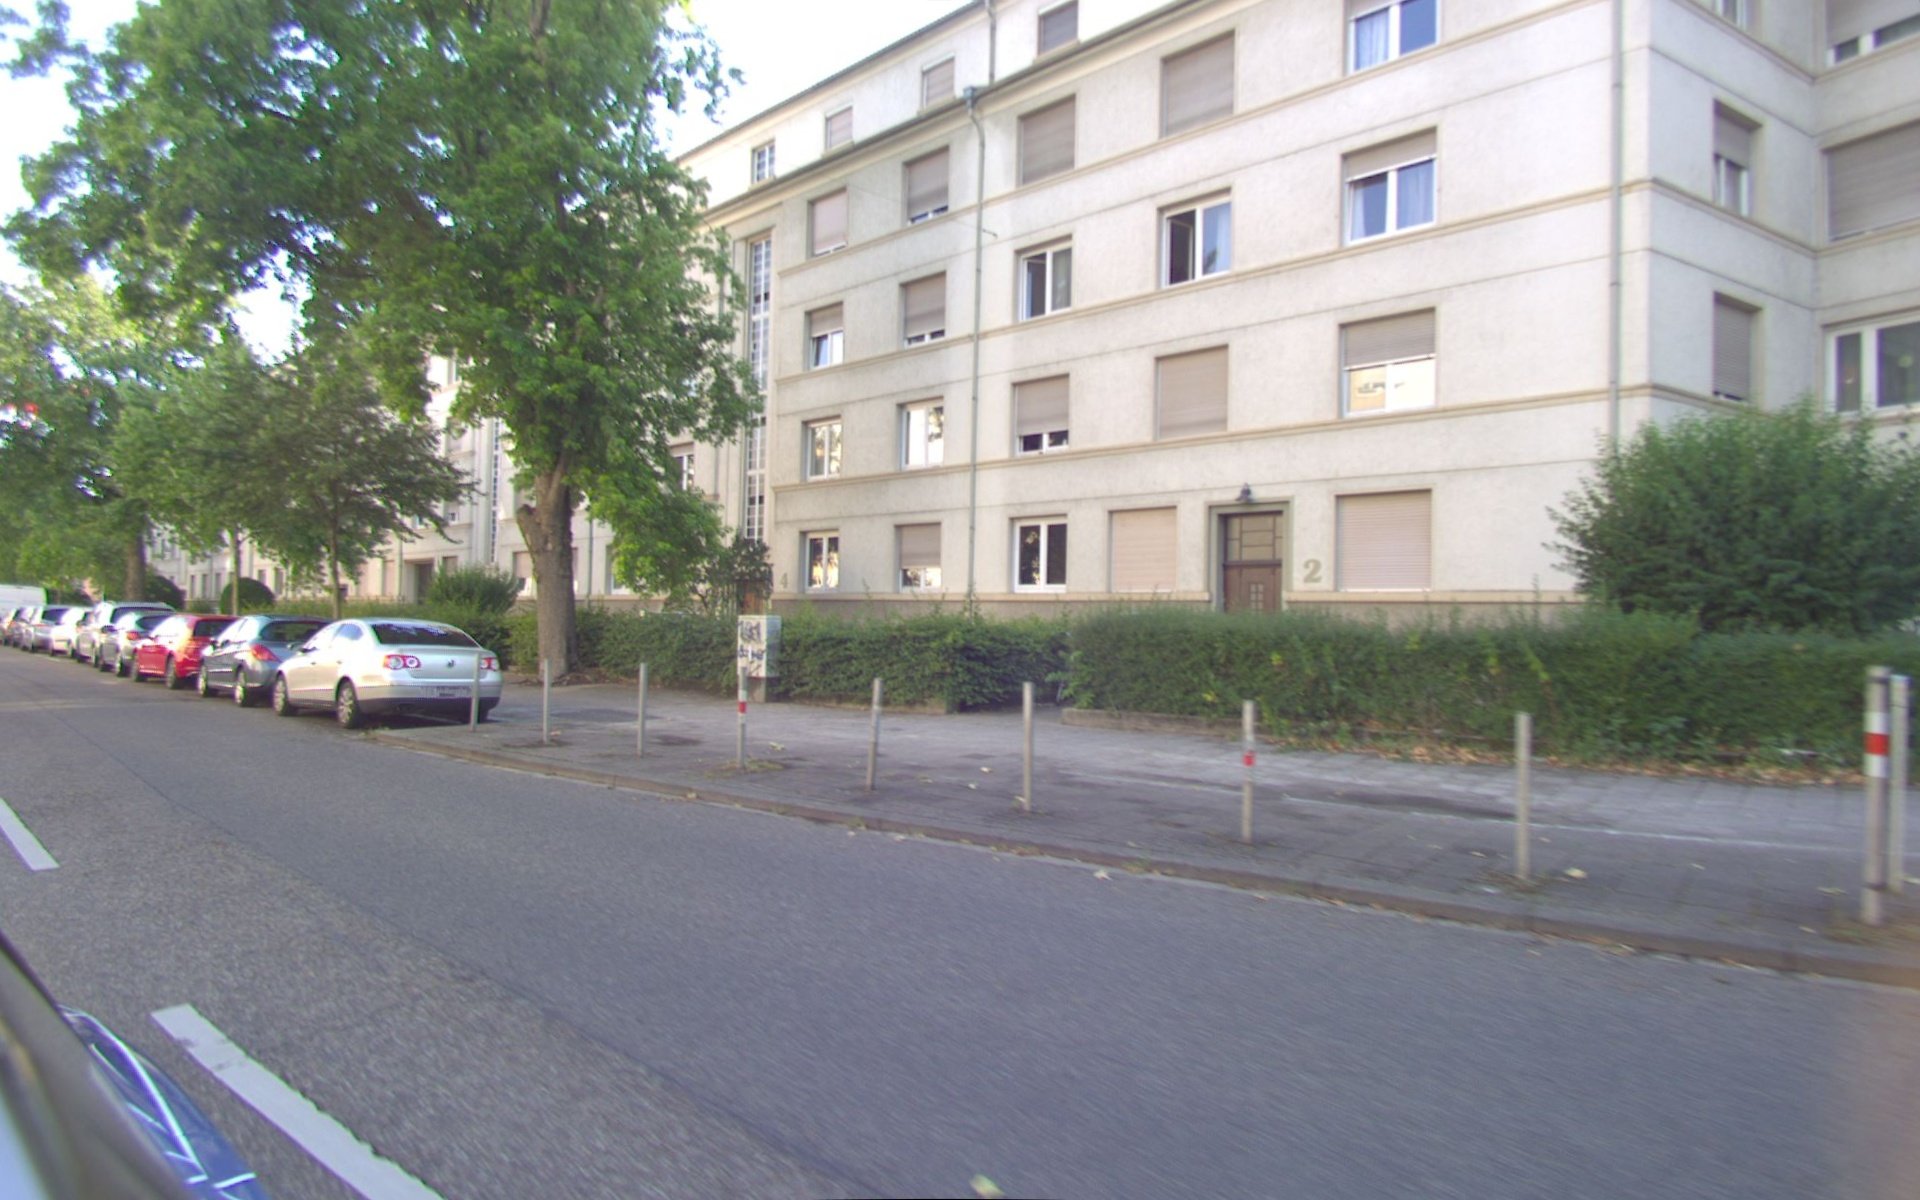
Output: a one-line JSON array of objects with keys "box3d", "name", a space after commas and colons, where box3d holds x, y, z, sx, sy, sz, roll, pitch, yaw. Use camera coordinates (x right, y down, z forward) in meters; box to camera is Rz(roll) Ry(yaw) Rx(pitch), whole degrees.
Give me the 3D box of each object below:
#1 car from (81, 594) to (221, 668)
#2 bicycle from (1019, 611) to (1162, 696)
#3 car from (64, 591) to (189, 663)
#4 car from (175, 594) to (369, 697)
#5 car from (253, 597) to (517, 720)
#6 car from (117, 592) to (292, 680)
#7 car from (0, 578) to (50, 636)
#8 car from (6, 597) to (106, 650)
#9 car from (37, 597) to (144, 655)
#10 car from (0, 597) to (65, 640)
[{"box3d": [-19.198, 0.665, 23.941, 4.496, 1.570, 1.851, 0, 0, 42], "name": "car"}, {"box3d": [2.092, 0.771, 15.726, 0.760, 1.132, 3.051, 2, 1, 37], "name": "bicycle"}, {"box3d": [-22.731, 0.658, 27.530, 4.973, 1.690, 1.896, 2, 1, 42], "name": "car"}, {"box3d": [-11.823, 0.732, 17.294, 4.128, 1.450, 1.686, 2, -4, 42], "name": "car"}, {"box3d": [-8.222, 0.694, 14.277, 4.708, 1.362, 1.751, 2, 1, 41], "name": "car"}, {"box3d": [-15.533, 0.700, 20.751, 3.995, 1.570, 1.853, 1, -2, 38], "name": "car"}, {"box3d": [-43.392, 0.248, 45.932, 6.163, 2.464, 2.333, 2, -1, 41], "name": "car"}, {"box3d": [-31.118, 0.787, 34.789, 5.055, 1.570, 1.851, 0, -6, 42], "name": "car"}, {"box3d": [-26.963, 0.782, 31.331, 4.099, 1.570, 1.851, 0, -5, 41], "name": "car"}, {"box3d": [-38.752, 0.723, 41.884, 4.344, 1.570, 1.936, 2, -2, 41], "name": "car"}]
